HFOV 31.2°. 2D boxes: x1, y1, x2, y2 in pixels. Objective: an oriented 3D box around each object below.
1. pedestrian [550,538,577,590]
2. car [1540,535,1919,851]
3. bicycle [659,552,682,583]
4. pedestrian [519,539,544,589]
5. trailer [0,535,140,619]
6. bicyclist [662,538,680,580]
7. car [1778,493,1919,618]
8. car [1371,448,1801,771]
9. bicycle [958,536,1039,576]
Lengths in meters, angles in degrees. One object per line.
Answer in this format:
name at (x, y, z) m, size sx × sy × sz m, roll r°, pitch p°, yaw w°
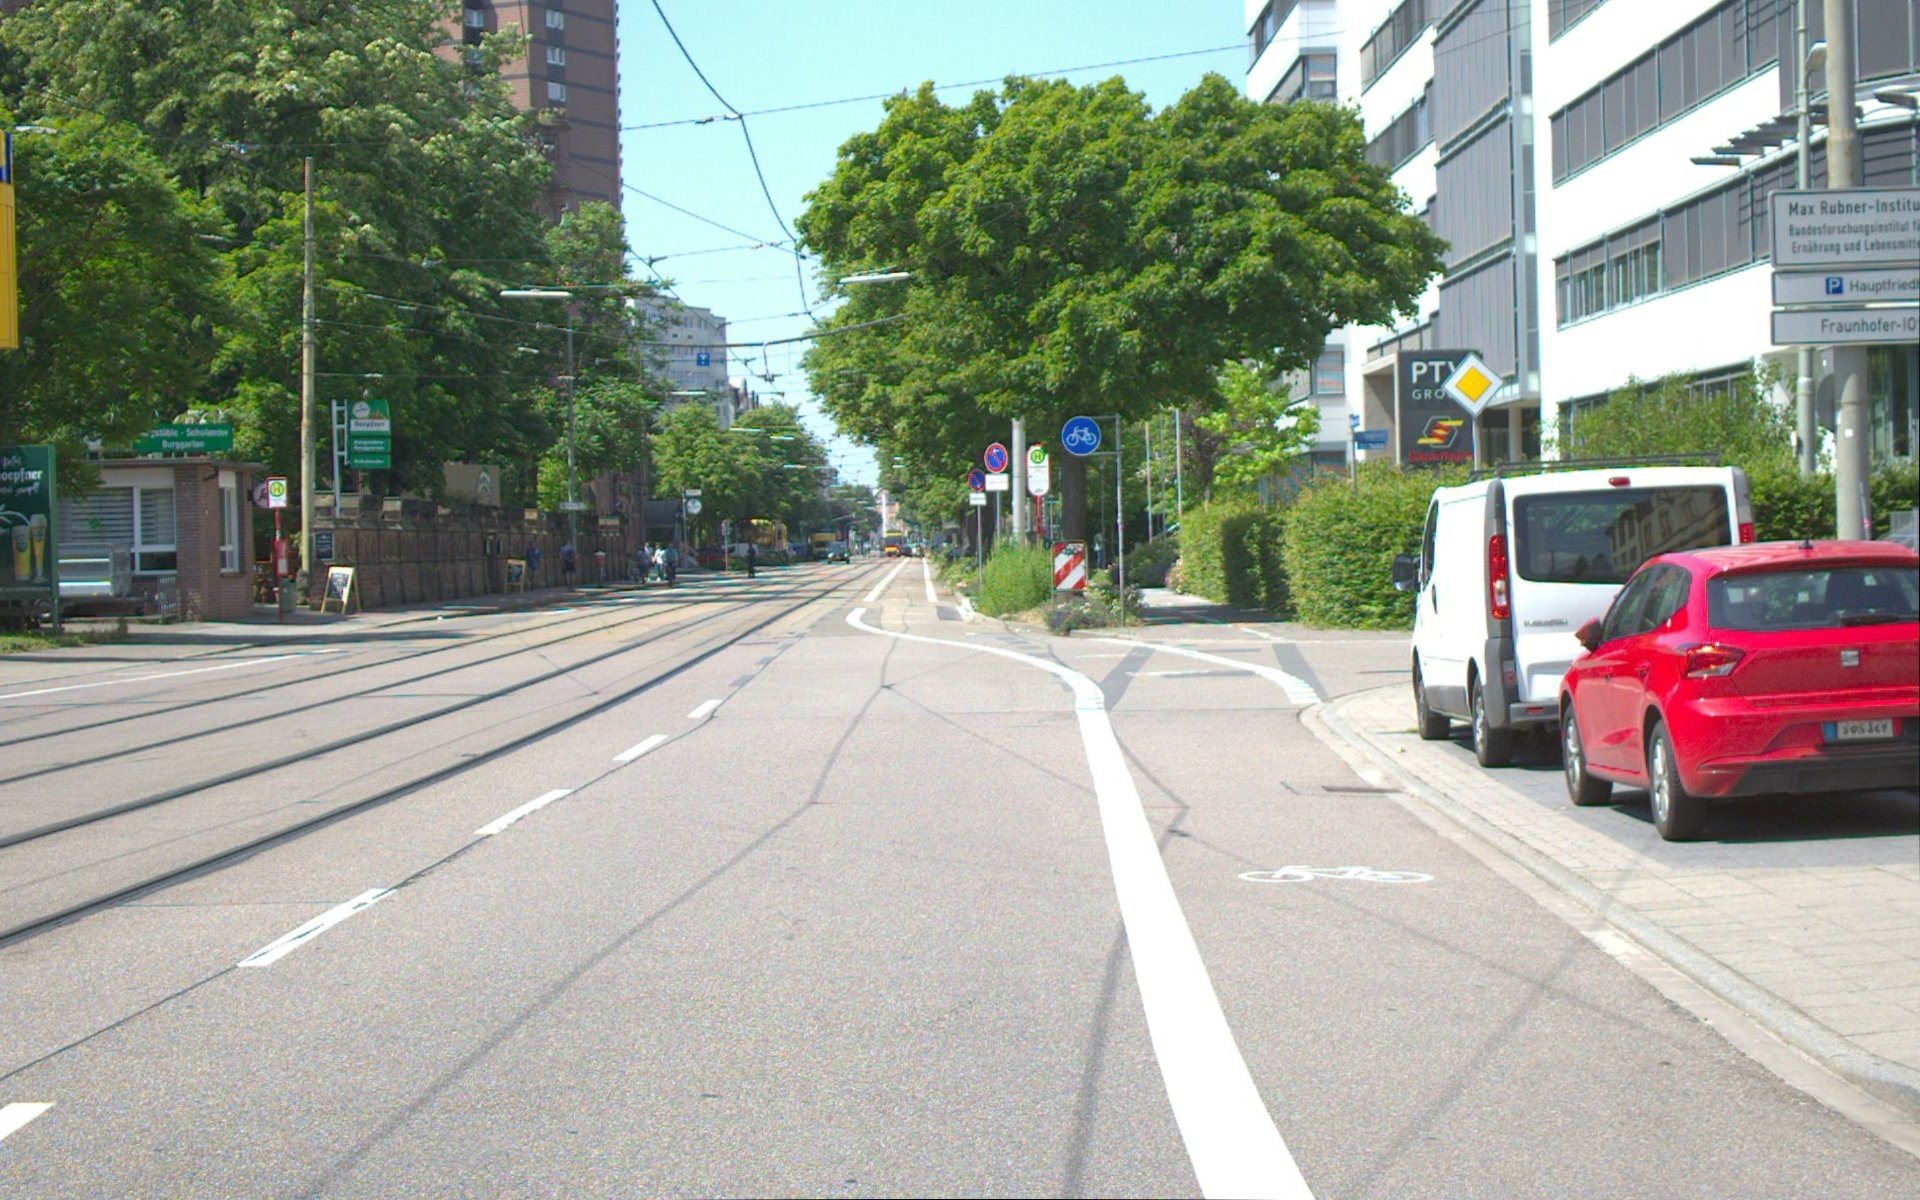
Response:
pedestrian at (-13.662, -1.247, 118.508) m, size 0.814 × 1.764 × 0.924 m, roll -1°, pitch 1°, yaw -1°
car at (4.387, 0.403, 18.271) m, size 1.993 × 1.437 × 4.017 m, roll -1°, pitch 1°, yaw 2°
bicycle at (-11.682, -1.329, 138.755) m, size 0.701 × 1.200 × 2.240 m, roll -3°, pitch 1°, yaw -1°
pedestrian at (-15.019, -1.273, 120.475) m, size 0.743 × 1.722 × 0.867 m, roll -1°, pitch 1°, yaw -1°
trailer at (-18.623, -0.485, 71.243) m, size 2.830 × 1.698 × 1.621 m, roll -1°, pitch 1°, yaw 1°
bicyclist at (-11.668, -1.653, 138.799) m, size 0.642 × 1.674 × 0.815 m, roll -1°, pitch 1°, yaw -3°
car at (11.866, -0.568, 41.360) m, size 3.600 × 1.446 × 1.759 m, roll -1°, pitch 1°, yaw 0°
car at (4.378, 0.005, 24.989) m, size 1.993 × 1.985 × 5.515 m, roll -3°, pitch 1°, yaw 0°
bicycle at (1.238, -1.412, 109.159) m, size 2.511 × 1.205 × 0.648 m, roll -1°, pitch 1°, yaw 4°
